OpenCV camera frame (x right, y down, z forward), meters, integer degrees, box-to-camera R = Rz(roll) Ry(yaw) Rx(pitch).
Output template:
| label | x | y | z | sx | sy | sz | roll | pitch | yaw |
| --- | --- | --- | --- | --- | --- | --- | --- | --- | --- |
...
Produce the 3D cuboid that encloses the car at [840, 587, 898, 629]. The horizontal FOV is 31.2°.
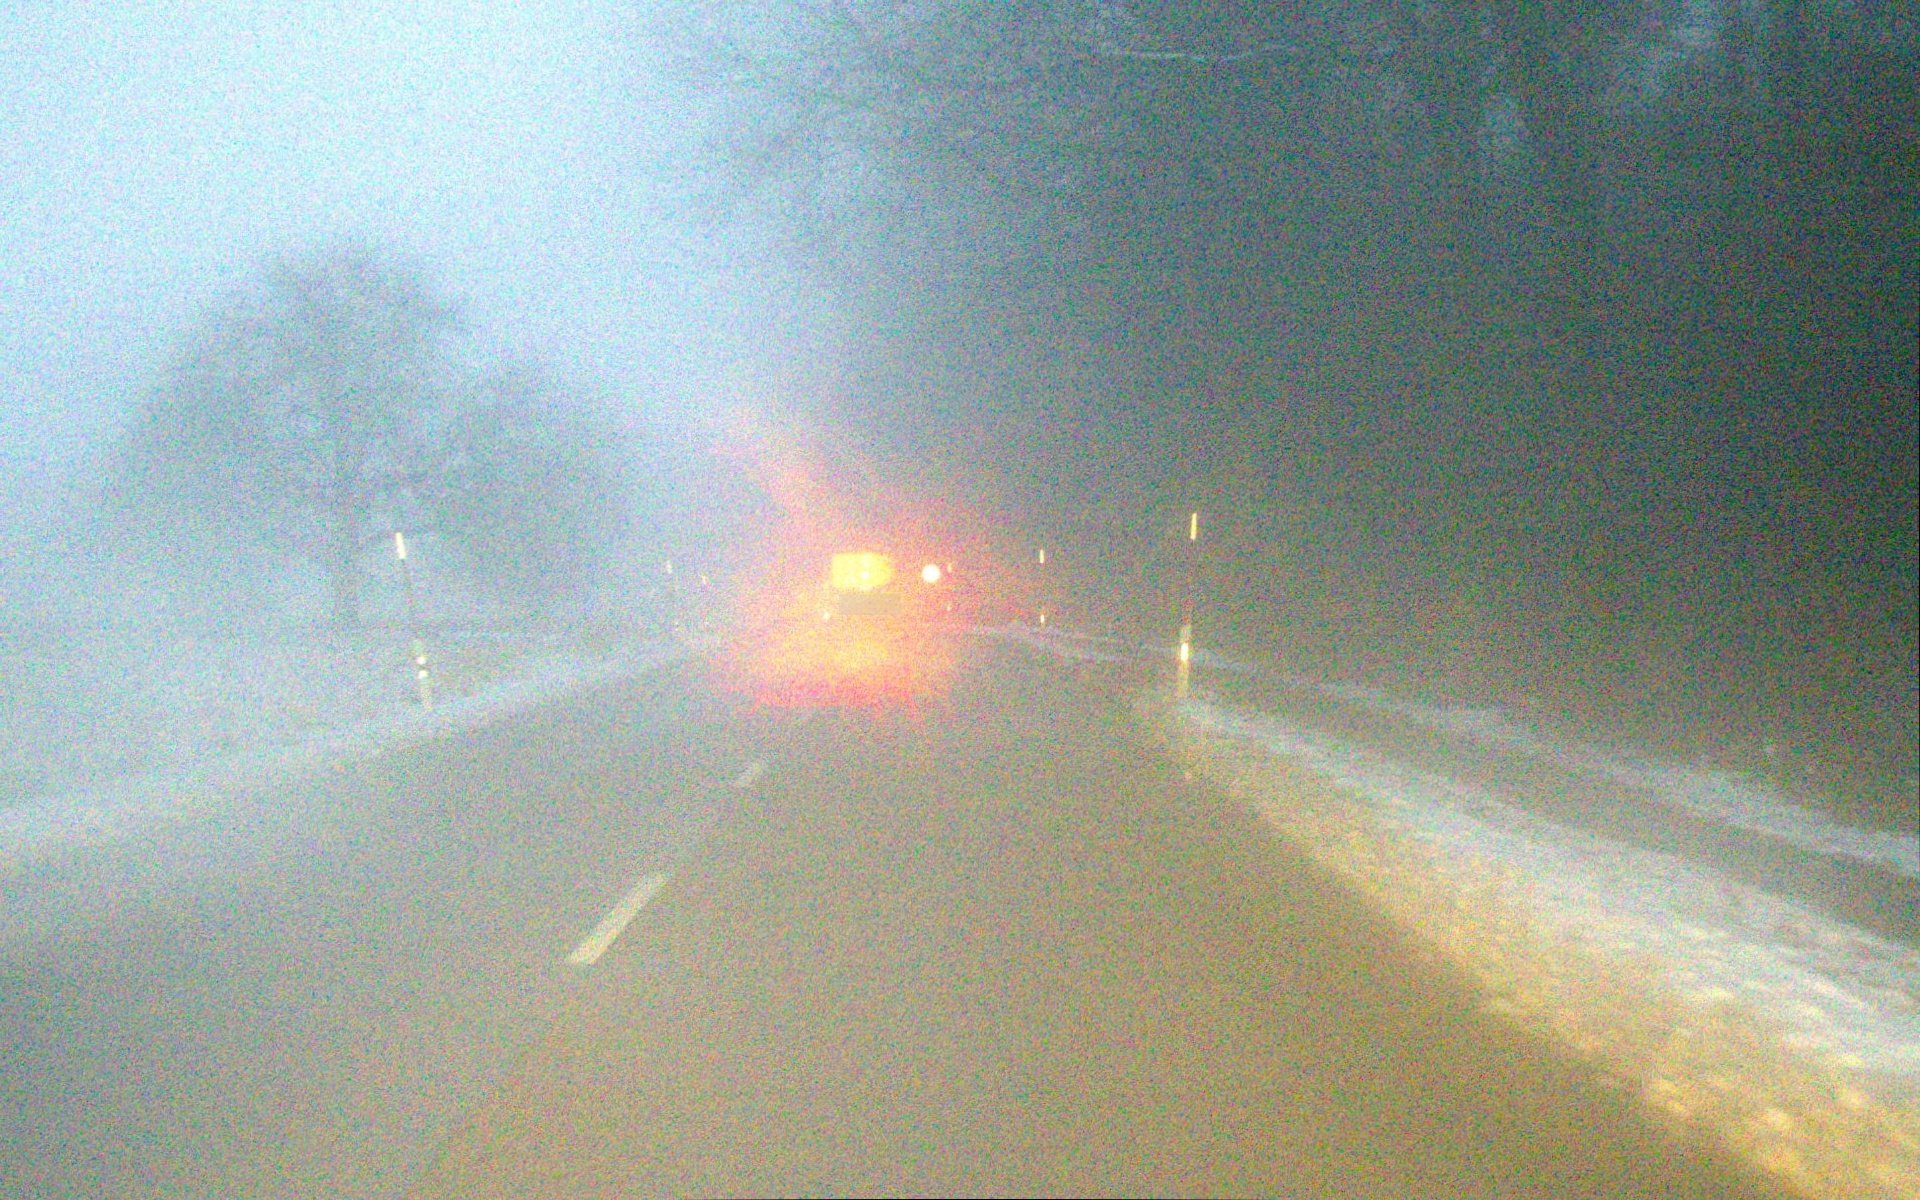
| label | x | y | z | sx | sy | sz | roll | pitch | yaw |
| --- | --- | --- | --- | --- | --- | --- | --- | --- | --- |
| car | -3.256 | 0.301 | 122.806 | 1.993 | 1.415 | 4.000 | -2 | -1 | -2 |
